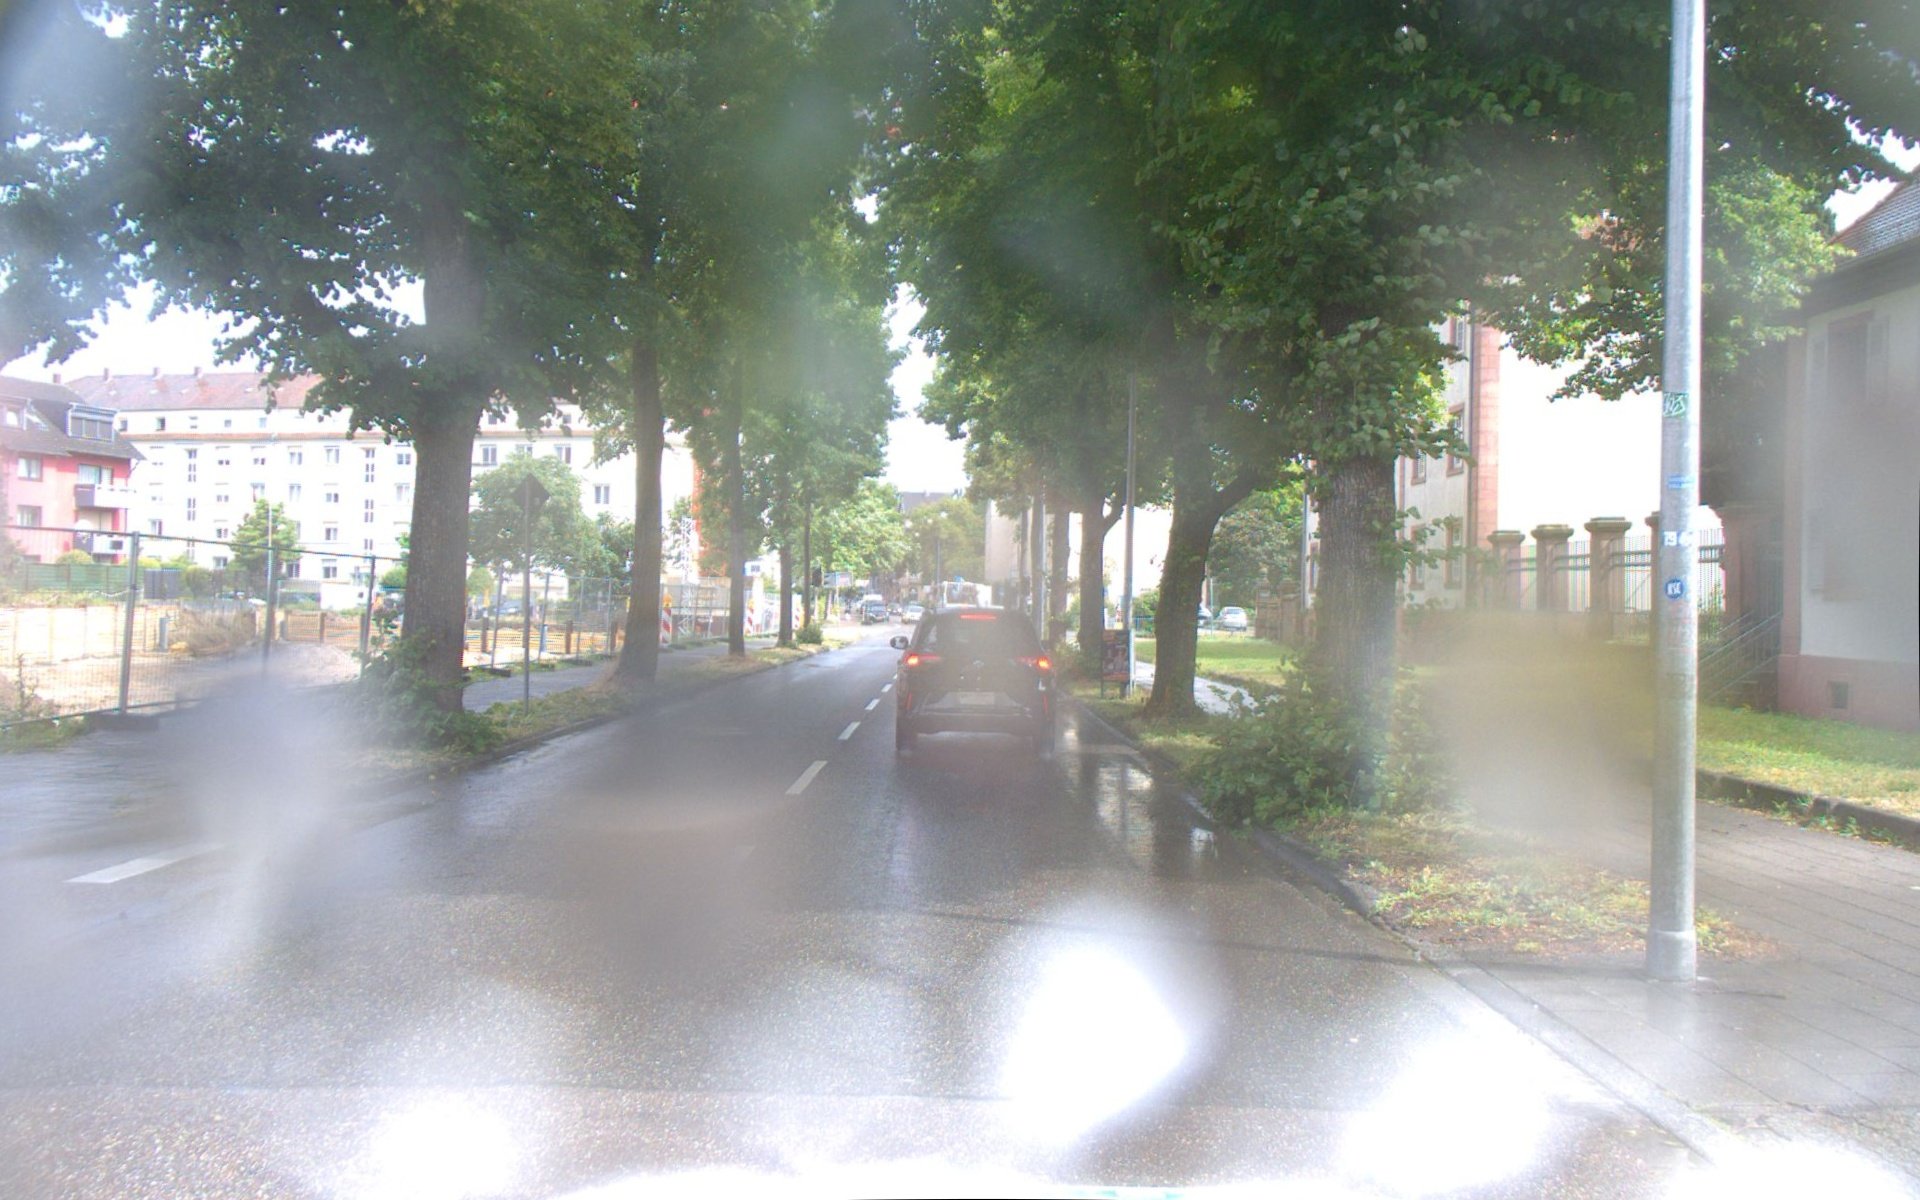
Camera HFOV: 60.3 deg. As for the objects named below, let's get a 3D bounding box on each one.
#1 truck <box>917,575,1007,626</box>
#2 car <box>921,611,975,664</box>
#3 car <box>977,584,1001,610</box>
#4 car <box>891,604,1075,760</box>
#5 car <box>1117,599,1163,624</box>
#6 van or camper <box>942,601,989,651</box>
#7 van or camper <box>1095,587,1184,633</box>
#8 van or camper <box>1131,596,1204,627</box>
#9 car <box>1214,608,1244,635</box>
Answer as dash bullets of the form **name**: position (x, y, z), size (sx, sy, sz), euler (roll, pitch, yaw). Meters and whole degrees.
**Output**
- **truck**: position (0.019, -0.032, 95.381), size (2.761, 2.703, 8.201), euler (1, 1, -18)
- **car**: position (-0.384, 1.298, 58.173), size (1.644, 1.738, 3.911), euler (-1, -1, 3)
- **car**: position (2.527, -0.265, 142.885), size (1.953, 2.049, 4.000), euler (3, -1, 1)
- **car**: position (0.233, 0.853, 19.080), size (1.856, 1.549, 4.000), euler (2, 0, 0)
- **car**: position (13.572, 0.858, 124.711), size (3.334, 1.812, 1.761), euler (-2, 0, 9)
- **van or camper**: position (0.259, 1.046, 68.671), size (1.782, 1.982, 4.195), euler (2, 0, 1)
- **van or camper**: position (10.540, 0.604, 97.276), size (4.930, 2.641, 2.167), euler (1, 0, -2)
- **van or camper**: position (14.335, 0.780, 114.652), size (4.775, 1.959, 2.131), euler (2, 1, 0)
- **car**: position (17.983, 1.404, 110.597), size (1.705, 1.713, 3.873), euler (-2, 0, 6)
